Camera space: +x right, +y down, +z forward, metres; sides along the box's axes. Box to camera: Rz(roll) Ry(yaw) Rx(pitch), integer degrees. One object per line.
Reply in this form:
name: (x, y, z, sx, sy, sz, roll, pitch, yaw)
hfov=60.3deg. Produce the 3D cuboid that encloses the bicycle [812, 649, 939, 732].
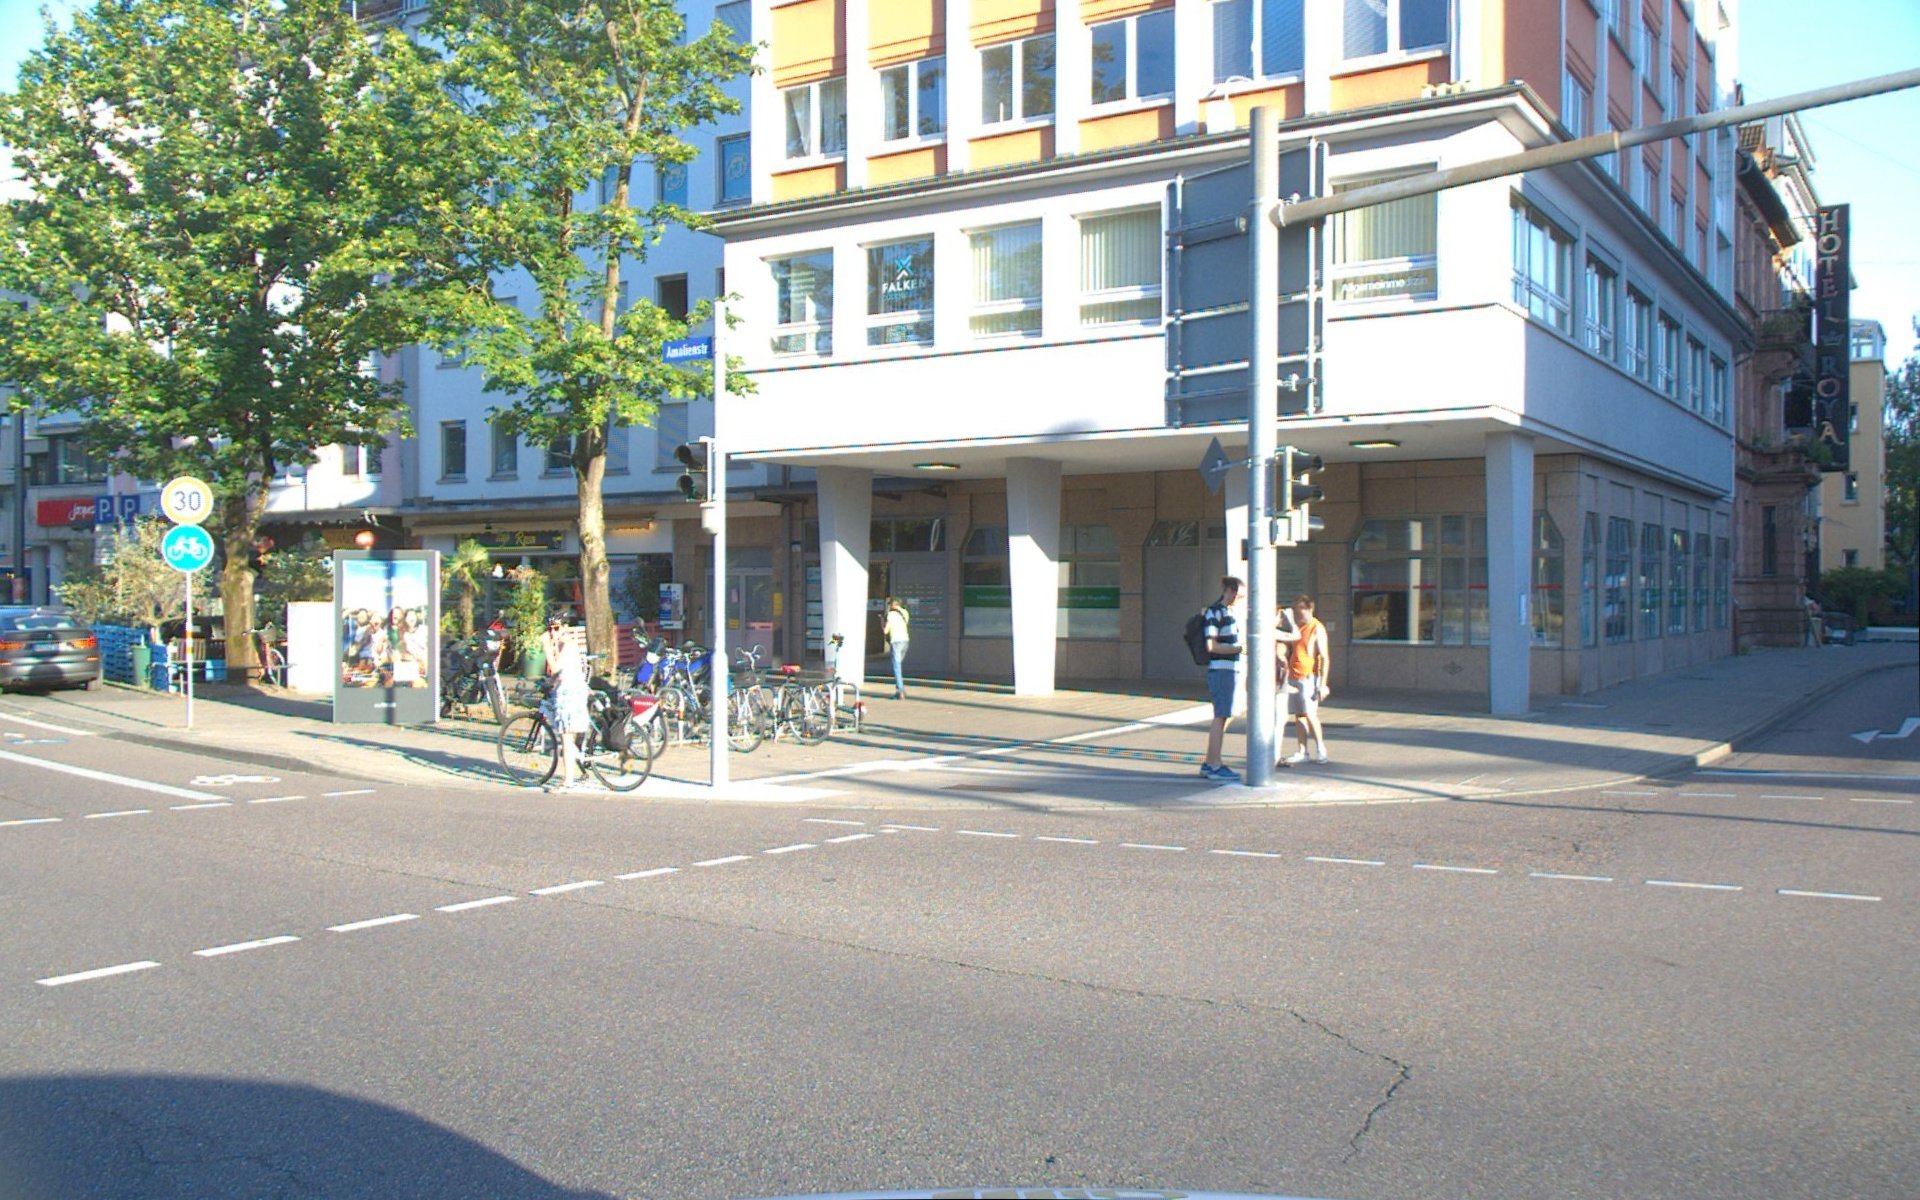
bicycle: (-1.160, 1.222, 22.514, 1.753, 1.045, 0.365, 1, -1, 26)

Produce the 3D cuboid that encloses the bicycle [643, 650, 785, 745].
bicycle: (-2.921, 1.136, 19.562, 1.753, 1.045, 0.368, 1, -1, 26)

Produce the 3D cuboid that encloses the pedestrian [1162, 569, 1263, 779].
pedestrian: (2.483, 0.698, 16.208, 0.828, 1.991, 0.702, 0, 0, 23)

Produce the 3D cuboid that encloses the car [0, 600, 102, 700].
car: (-17.649, 0.877, 31.213, 1.791, 1.699, 4.749, 1, 0, -37)

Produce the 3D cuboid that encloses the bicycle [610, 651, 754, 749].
bicycle: (-3.220, 1.141, 19.115, 1.754, 1.045, 0.360, 1, -1, 27)

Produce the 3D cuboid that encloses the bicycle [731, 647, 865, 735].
bicycle: (-2.075, 1.141, 21.042, 1.753, 1.045, 0.365, 1, -1, 26)

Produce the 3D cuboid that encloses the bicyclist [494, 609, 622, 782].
bicyclist: (-3.653, 0.842, 15.052, 0.788, 1.506, 0.797, 1, -1, 25)

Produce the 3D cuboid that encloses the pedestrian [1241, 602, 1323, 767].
pedestrian: (3.350, 0.857, 17.201, 0.693, 1.673, 0.516, 0, 0, 36)

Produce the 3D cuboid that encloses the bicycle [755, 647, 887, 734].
bicycle: (-1.817, 1.160, 21.501, 1.753, 1.045, 0.365, 1, -1, 26)

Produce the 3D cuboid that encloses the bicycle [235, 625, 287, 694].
bicycle: (-13.135, 1.097, 31.058, 0.442, 1.231, 2.056, 1, 0, -35)

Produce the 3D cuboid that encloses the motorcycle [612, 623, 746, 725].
motorcycle: (-4.000, 1.028, 23.735, 0.629, 1.378, 2.143, 1, 0, 31)

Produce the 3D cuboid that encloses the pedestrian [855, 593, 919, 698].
pedestrian: (-1.245, 0.760, 28.272, 0.858, 1.755, 0.654, 1, -1, 31)

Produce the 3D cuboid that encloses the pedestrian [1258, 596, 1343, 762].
pedestrian: (3.643, 0.822, 17.700, 0.757, 1.723, 0.516, 0, 0, 36)

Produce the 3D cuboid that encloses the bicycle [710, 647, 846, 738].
bicycle: (-2.282, 1.141, 20.645, 1.753, 1.045, 0.365, 1, -1, 26)

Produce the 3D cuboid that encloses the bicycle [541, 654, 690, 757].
bicycle: (-3.809, 1.148, 18.233, 1.754, 1.045, 0.360, 1, -1, 27)

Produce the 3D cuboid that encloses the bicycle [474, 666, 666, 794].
bicycle: (-3.554, 1.160, 15.024, 1.753, 1.045, 0.515, 1, -1, 26)

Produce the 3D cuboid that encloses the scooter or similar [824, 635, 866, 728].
scooter or similar: (-1.702, 1.183, 24.396, 0.303, 1.285, 1.520, 1, 0, -15)

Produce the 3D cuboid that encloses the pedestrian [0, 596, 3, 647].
pedestrian: (-34.301, 0.756, 58.305, 0.839, 1.817, 0.639, 1, -1, 32)

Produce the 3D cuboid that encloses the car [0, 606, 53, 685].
car: (-20.528, 0.926, 35.263, 1.637, 1.561, 4.016, 1, 0, -35)

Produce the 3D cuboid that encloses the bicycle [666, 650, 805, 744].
bicycle: (-2.714, 1.150, 19.945, 1.754, 1.045, 0.360, 1, -1, 27)

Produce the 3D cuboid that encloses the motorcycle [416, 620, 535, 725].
motorcycle: (-6.839, 0.989, 23.269, 2.166, 1.367, 0.638, 1, -1, 45)

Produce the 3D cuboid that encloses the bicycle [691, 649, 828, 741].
bicycle: (-2.472, 1.148, 20.309, 1.754, 1.045, 0.360, 1, -1, 27)

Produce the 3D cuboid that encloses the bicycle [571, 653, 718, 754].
bicycle: (-3.562, 1.146, 18.616, 1.754, 1.045, 0.360, 1, -1, 27)
